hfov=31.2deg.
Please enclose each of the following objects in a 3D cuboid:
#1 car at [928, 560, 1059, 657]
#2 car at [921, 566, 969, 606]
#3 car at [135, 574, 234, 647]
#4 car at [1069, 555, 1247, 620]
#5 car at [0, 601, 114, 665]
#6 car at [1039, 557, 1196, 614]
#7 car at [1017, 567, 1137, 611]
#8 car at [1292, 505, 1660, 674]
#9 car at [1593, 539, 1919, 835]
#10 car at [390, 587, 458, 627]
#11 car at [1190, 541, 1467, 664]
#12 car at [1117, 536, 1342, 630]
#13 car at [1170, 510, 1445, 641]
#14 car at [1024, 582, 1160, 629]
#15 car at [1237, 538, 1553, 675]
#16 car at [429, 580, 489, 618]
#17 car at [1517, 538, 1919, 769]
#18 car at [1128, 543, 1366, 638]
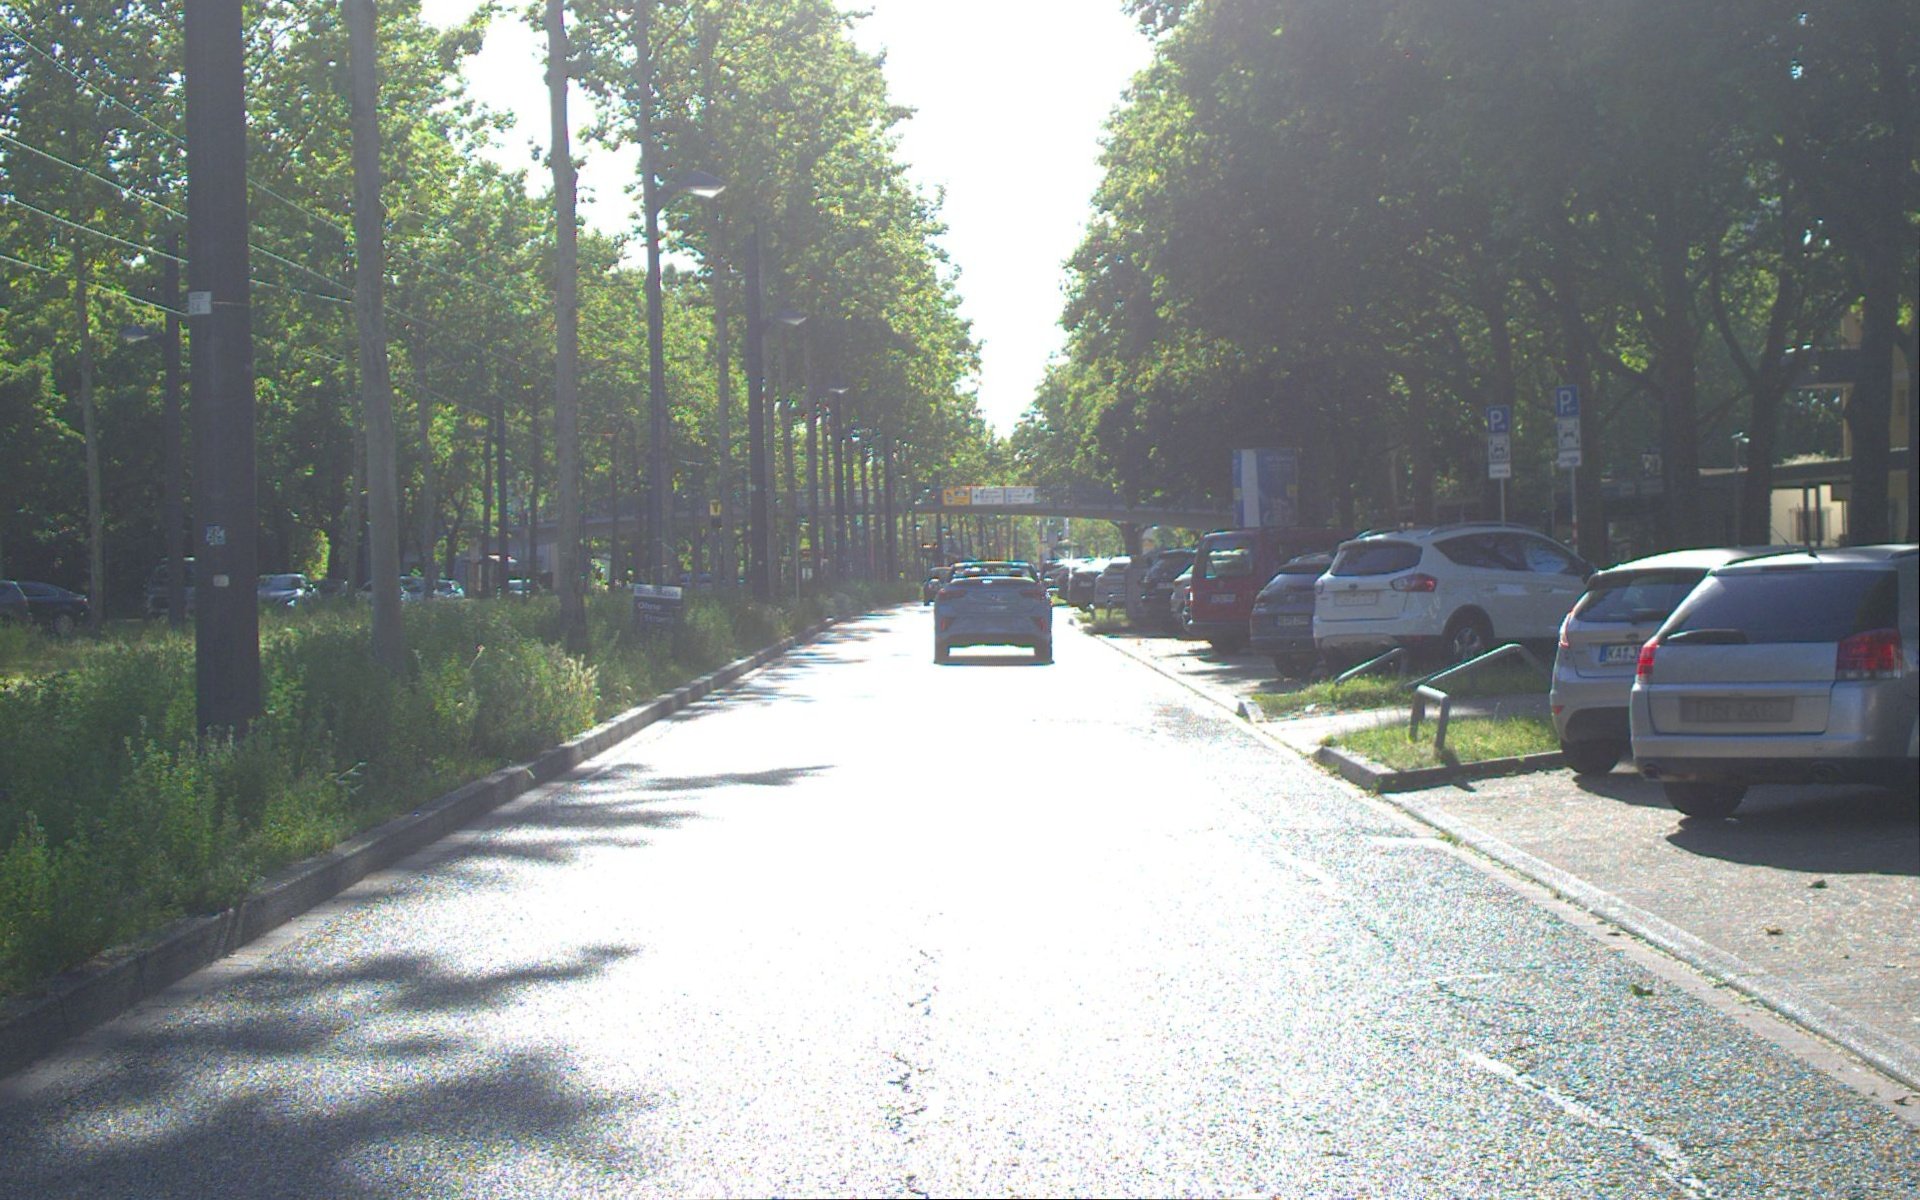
[{"bbox_3d":[0.488,0.101,52.559,1.922,1.406,4.000,0,1,0],"label":"car"},{"bbox_3d":[-0.589,-0.578,138.090,1.849,1.530,3.866,-1,1,1],"label":"car"},{"bbox_3d":[-23.077,0.294,102.449,1.645,2.086,4.914,2,0,2],"label":"car"},{"bbox_3d":[4.996,-0.320,86.442,4.482,1.438,1.855,-3,1,-43],"label":"car"},{"bbox_3d":[-24.377,0.854,88.967,4.474,1.563,1.794,-1,0,-42],"label":"car"},{"bbox_3d":[4.416,-0.422,96.104,4.318,1.420,1.855,-3,1,-43],"label":"car"},{"bbox_3d":[4.473,-0.414,131.102,4.611,1.674,1.856,0,0,-42],"label":"car"},{"bbox_3d":[5.712,-0.136,37.836,4.017,1.699,1.760,-3,1,-41],"label":"car"},{"bbox_3d":[5.542,0.382,19.274,4.174,1.407,1.719,-4,2,-43],"label":"car"},{"bbox_3d":[-22.112,0.275,142.015,1.993,1.584,4.168,2,0,2],"label":"car"},{"bbox_3d":[4.802,0.023,44.475,1.650,1.443,3.618,-2,1,44],"label":"car"},{"bbox_3d":[5.164,-0.336,65.641,4.308,1.711,1.635,-1,1,-39],"label":"car"},{"bbox_3d":[5.228,-0.386,51.448,4.073,1.804,1.650,-3,1,-40],"label":"car"},{"bbox_3d":[4.452,0.168,115.368,1.978,1.454,4.612,-1,0,44],"label":"car"},{"bbox_3d":[5.191,0.061,40.772,3.777,1.465,1.650,-3,1,-43],"label":"car"},{"bbox_3d":[-21.558,-0.057,148.108,1.787,1.584,4.168,2,0,2],"label":"car"},{"bbox_3d":[5.601,0.301,23.019,3.928,1.368,1.587,-3,1,-43],"label":"car"},{"bbox_3d":[5.259,-0.178,62.831,4.072,1.577,1.781,-2,1,-34],"label":"car"}]
